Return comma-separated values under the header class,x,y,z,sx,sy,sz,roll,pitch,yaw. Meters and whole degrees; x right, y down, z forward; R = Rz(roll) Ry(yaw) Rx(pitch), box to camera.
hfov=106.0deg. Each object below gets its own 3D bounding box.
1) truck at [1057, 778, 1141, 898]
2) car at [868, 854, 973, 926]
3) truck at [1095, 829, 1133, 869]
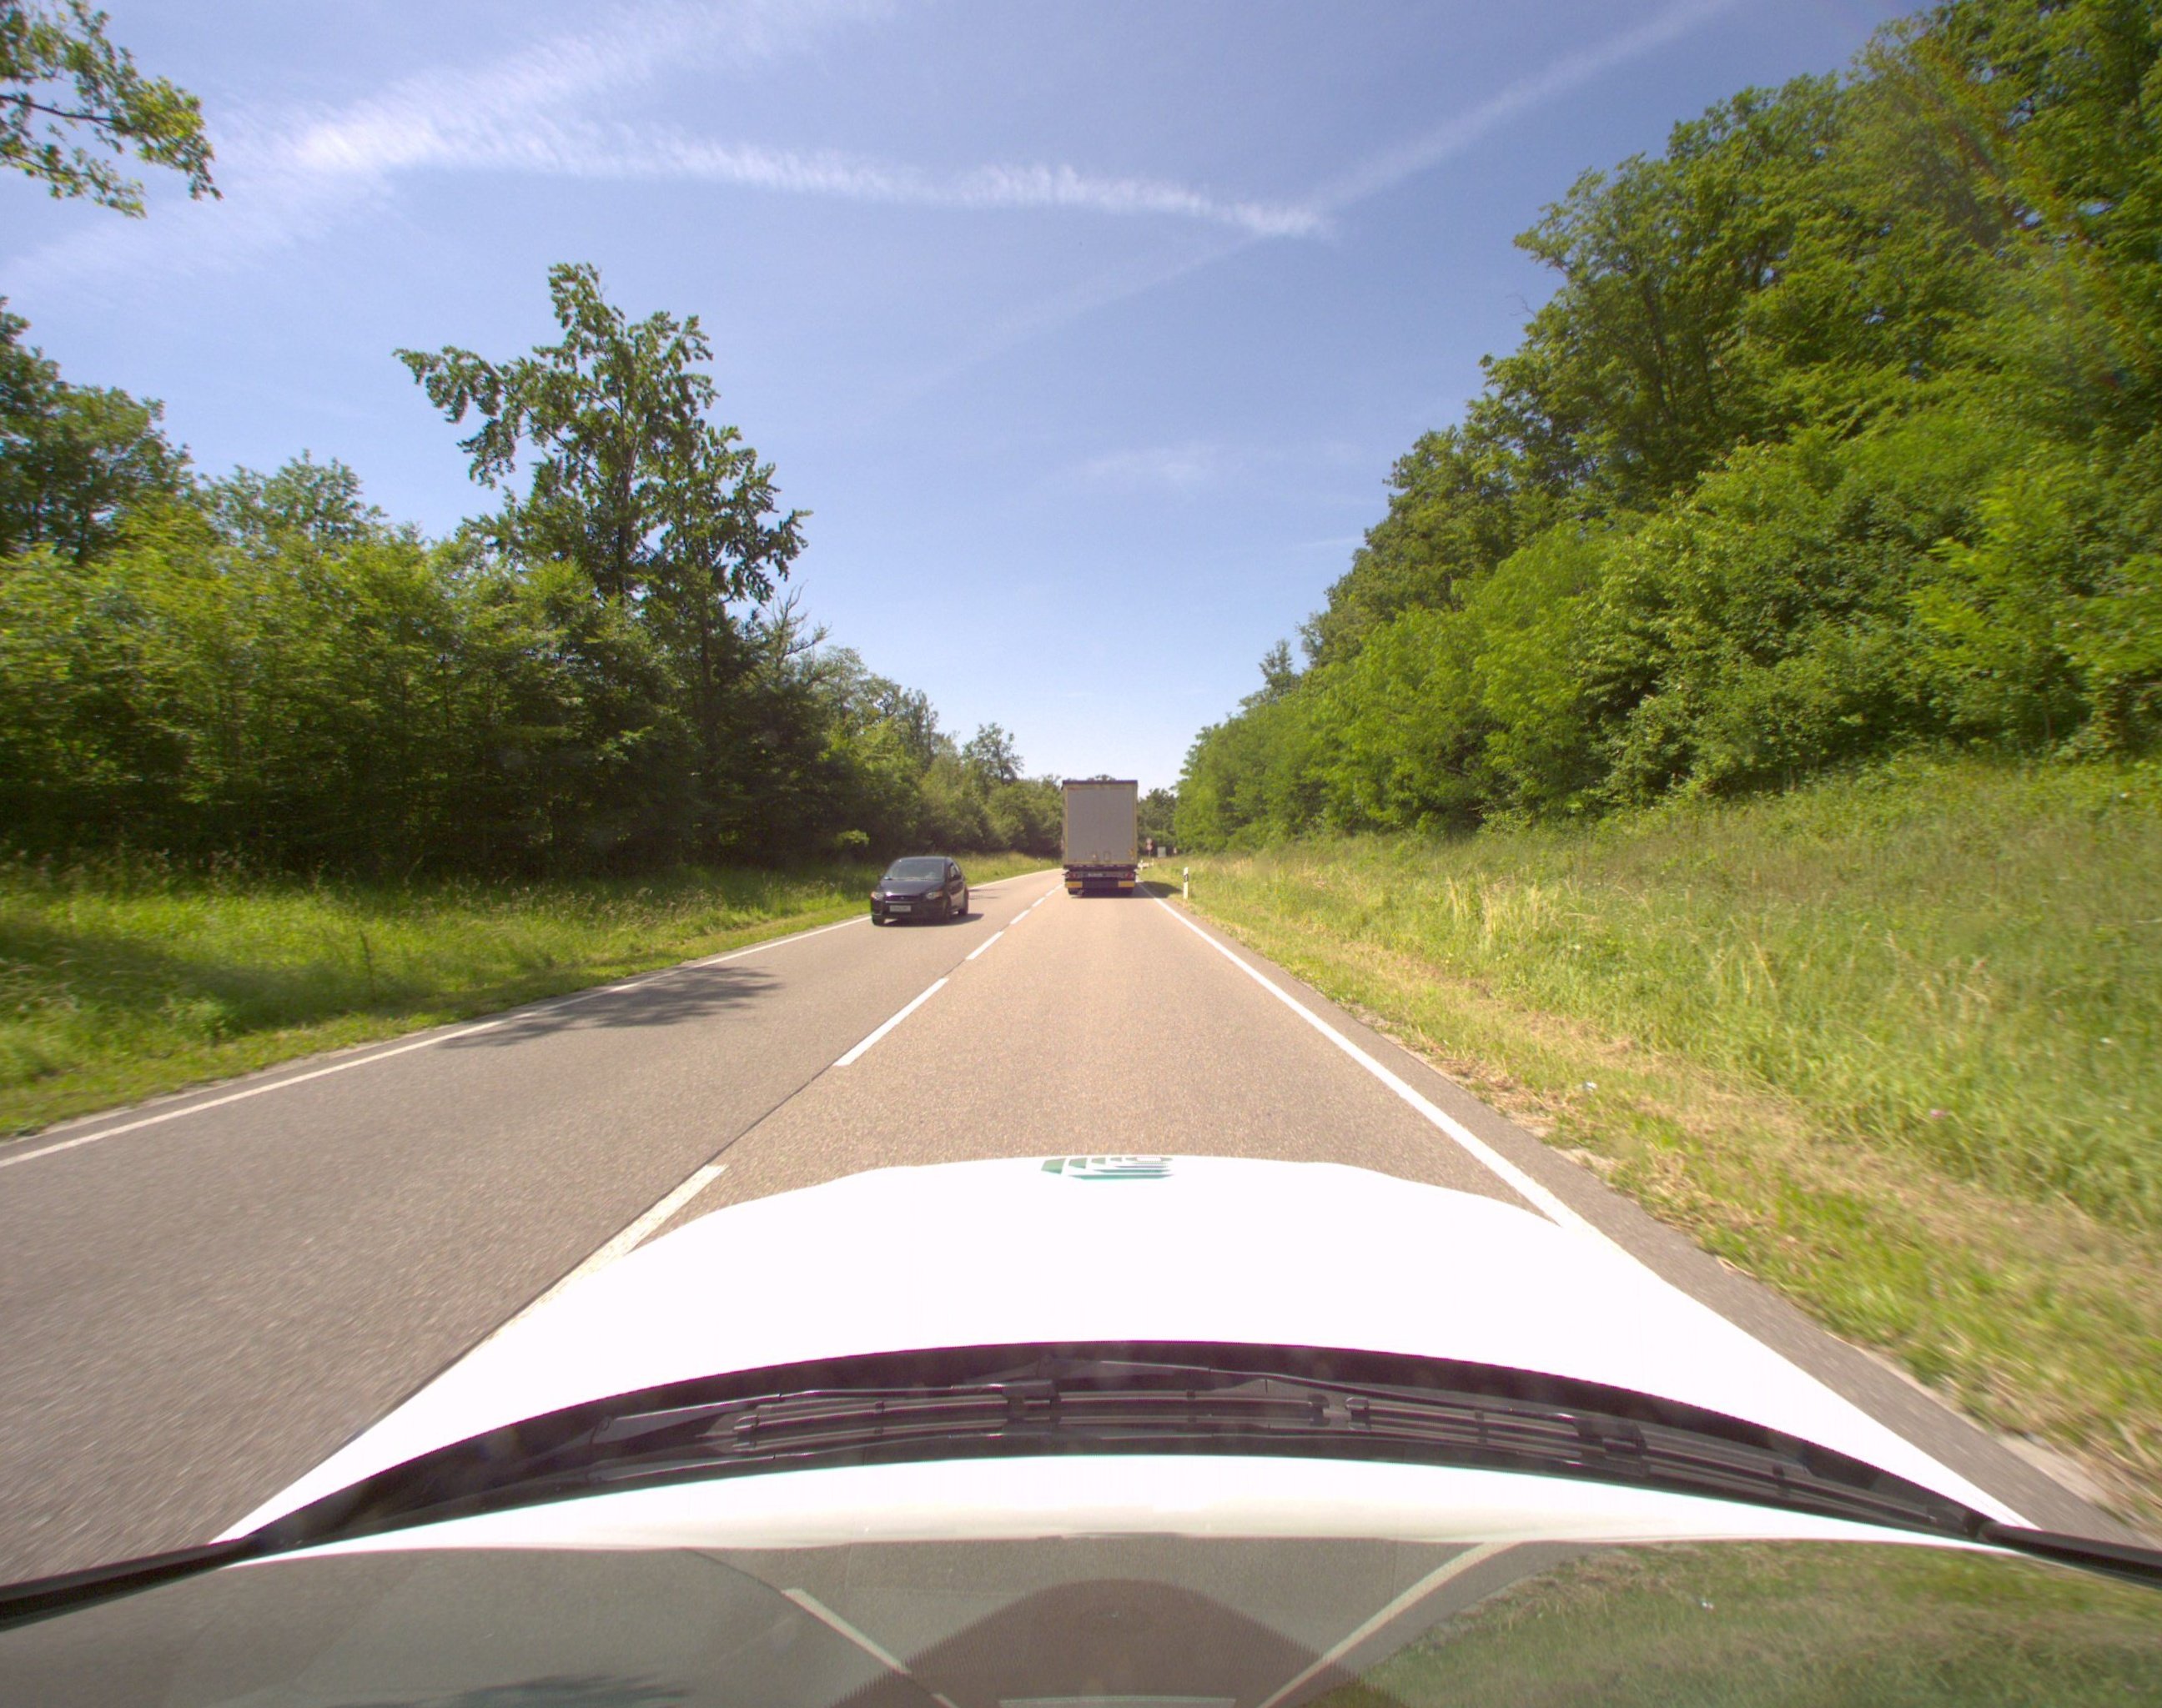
class,x,y,z,sx,sy,sz,roll,pitch,yaw
truck,0.757,-0.549,33.464,2.751,3.947,12.200,-1,0,1
car,-3.664,0.760,19.237,1.655,1.495,3.806,-1,0,1
truck,4.116,-0.558,97.422,3.775,4.373,14.941,-1,0,5
